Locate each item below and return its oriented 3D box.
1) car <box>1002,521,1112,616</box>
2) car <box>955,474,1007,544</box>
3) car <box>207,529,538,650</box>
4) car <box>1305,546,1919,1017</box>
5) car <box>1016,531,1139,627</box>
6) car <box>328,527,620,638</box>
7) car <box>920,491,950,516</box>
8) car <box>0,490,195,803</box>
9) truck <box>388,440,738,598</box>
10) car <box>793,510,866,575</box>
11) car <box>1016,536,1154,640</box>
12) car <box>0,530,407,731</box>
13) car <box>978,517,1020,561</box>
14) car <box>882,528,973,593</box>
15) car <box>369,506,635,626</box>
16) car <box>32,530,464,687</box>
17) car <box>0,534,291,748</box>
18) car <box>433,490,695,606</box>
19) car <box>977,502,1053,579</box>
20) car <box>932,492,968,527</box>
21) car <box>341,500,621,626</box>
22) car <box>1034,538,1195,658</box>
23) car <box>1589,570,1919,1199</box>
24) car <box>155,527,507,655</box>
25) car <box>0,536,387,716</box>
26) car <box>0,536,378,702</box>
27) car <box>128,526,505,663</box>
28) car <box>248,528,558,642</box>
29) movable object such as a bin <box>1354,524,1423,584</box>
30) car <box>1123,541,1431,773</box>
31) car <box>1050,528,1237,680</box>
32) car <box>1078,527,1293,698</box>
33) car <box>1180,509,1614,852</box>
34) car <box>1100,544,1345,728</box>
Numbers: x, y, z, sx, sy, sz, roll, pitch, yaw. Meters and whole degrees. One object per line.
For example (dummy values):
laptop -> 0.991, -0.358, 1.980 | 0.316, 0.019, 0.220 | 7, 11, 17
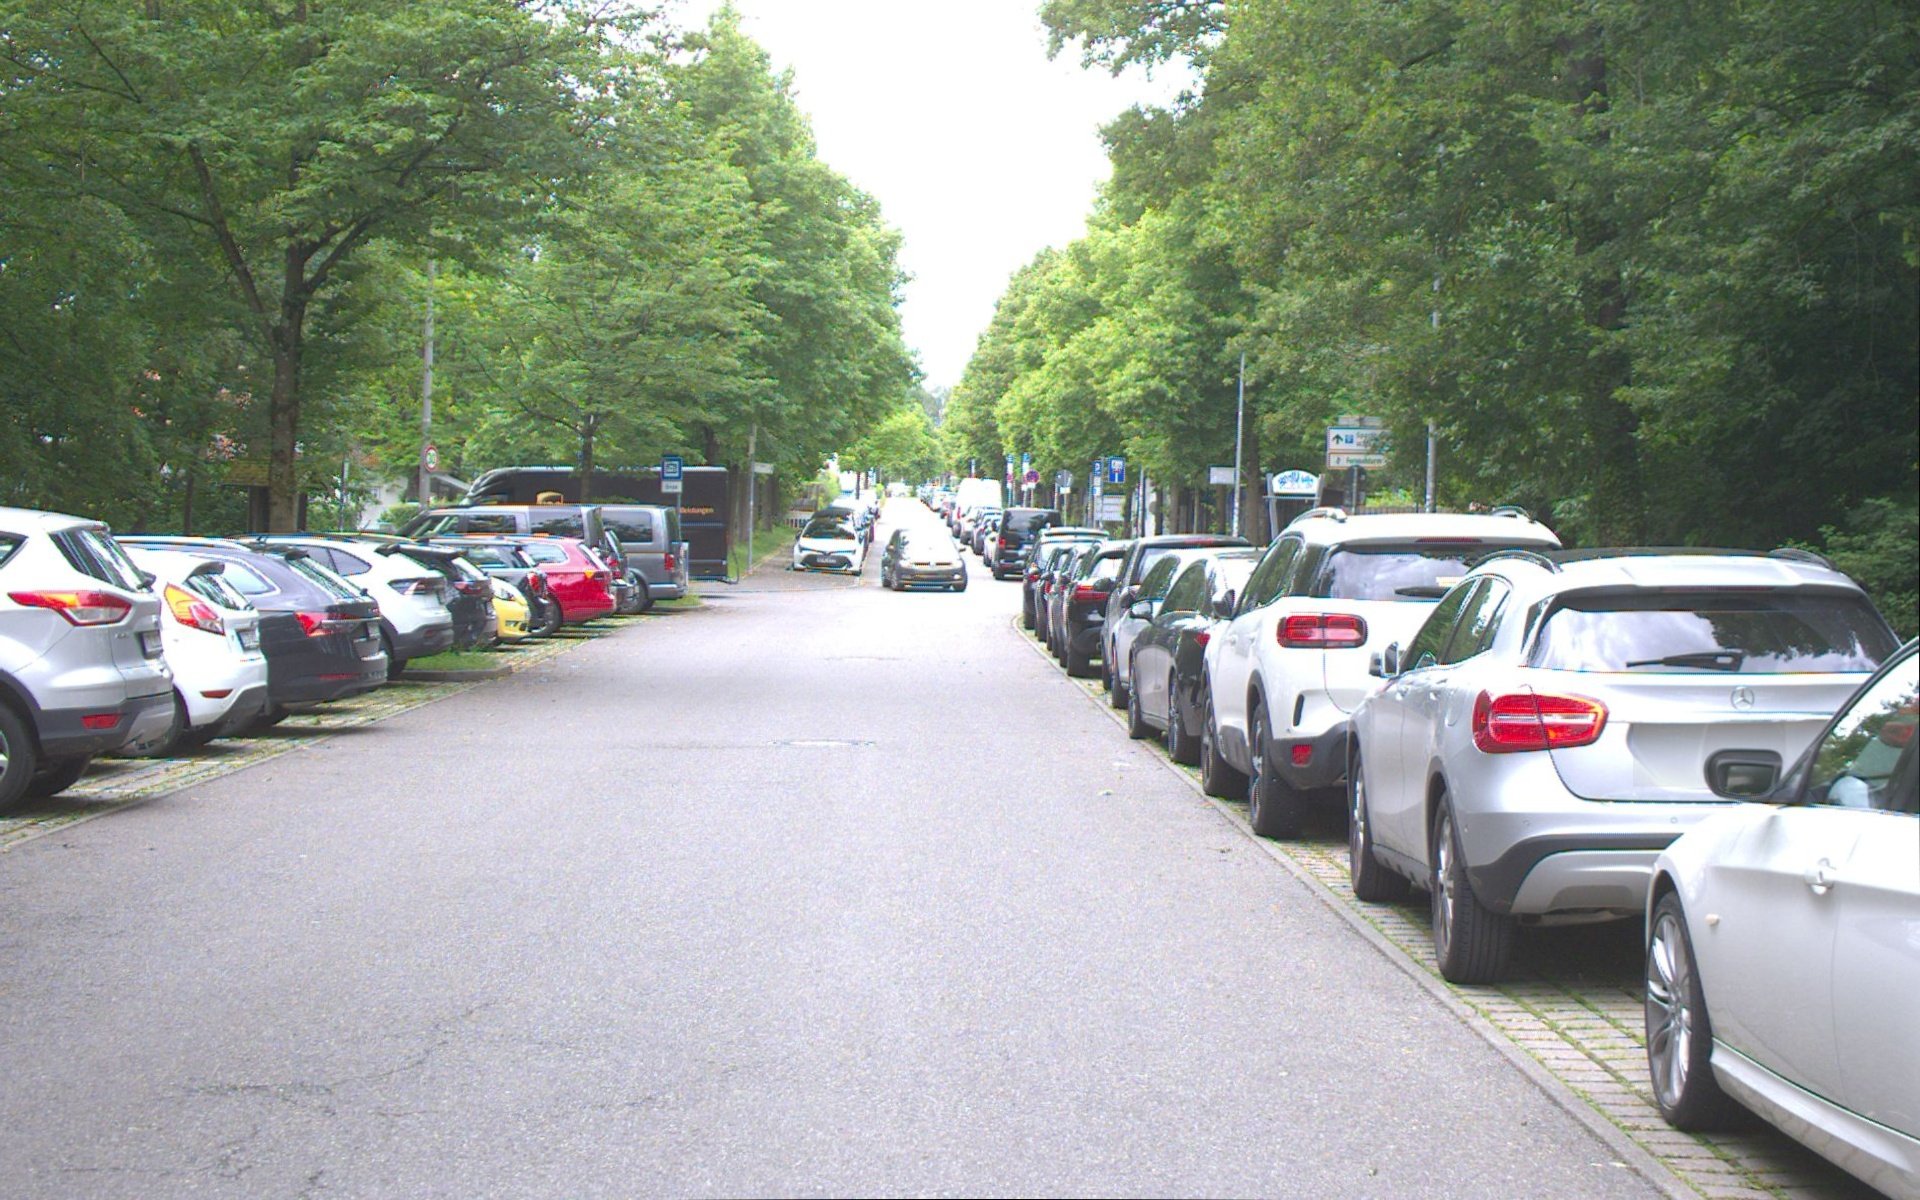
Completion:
car -> 1.715, -0.584, 62.078 | 1.736, 1.628, 4.376 | 1, 1, -1
car -> 0.940, -4.025, 151.500 | 2.184, 3.005, 4.897 | 1, 1, 1
car -> -7.574, -0.150, 44.539 | 3.987, 1.433, 1.618 | 2, 1, 0
car -> 2.479, 0.548, 13.428 | 1.736, 1.474, 4.770 | 1, 1, 0
car -> 1.884, -0.372, 56.281 | 1.736, 1.489, 4.234 | 1, 1, -1
car -> -6.968, -0.269, 49.565 | 3.986, 1.471, 1.780 | 1, 1, -2
car -> -1.748, -6.878, 244.809 | 1.898, 1.700, 4.063 | 1, 0, 3
car -> -6.410, 0.226, 19.025 | 3.986, 1.656, 1.815 | 0, 1, -2
truck -> -8.642, -1.714, 74.397 | 7.245, 3.225, 3.442 | 1, 0, -11
car -> -3.486, -1.541, 90.946 | 1.765, 1.590, 4.217 | 3, 1, -3
car -> 1.796, -0.208, 50.675 | 1.736, 1.427, 4.502 | 1, 1, -1
car -> -6.420, 0.200, 26.542 | 3.987, 1.430, 1.677 | 1, 1, 1
car -> 1.381, -2.175, 122.025 | 1.469, 1.526, 3.189 | 1, 1, 1
car -> -0.746, -0.920, 81.152 | 1.872, 1.481, 4.000 | 1, 0, 3
car -> -7.210, -0.552, 54.397 | 3.986, 1.759, 1.824 | 1, 1, -2
car -> -7.100, 0.066, 34.561 | 3.987, 1.462, 1.715 | 1, 1, -1
car -> -6.878, 0.269, 24.175 | 3.987, 1.430, 1.648 | 1, -1, 1
car -> -7.072, -0.927, 61.743 | 4.502, 1.971, 1.891 | 1, 0, -2
car -> 1.474, -1.633, 93.332 | 1.988, 2.007, 4.108 | 1, 1, 1
car -> -0.613, -5.566, 211.350 | 1.994, 2.007, 4.000 | 1, 0, 3
car -> -7.204, -0.567, 51.960 | 3.987, 1.856, 1.813 | 0, 1, -1
car -> 1.923, -0.066, 43.979 | 1.736, 1.427, 4.502 | 1, 1, -1
car -> 2.669, 0.676, 7.354 | 1.736, 1.402, 4.428 | 1, 1, -1
car -> -7.676, -0.131, 42.216 | 3.987, 1.433, 1.734 | 2, 1, 0
car -> -7.091, 0.197, 29.613 | 3.987, 1.430, 1.677 | 1, 1, 1
car -> -7.608, 0.152, 32.202 | 3.987, 1.430, 1.702 | 1, 1, 1
car -> -7.345, -0.079, 39.490 | 3.987, 1.433, 1.715 | 2, 1, 0
car -> -7.561, -0.217, 46.926 | 3.986, 1.433, 1.672 | 1, 1, -3
movable object such as a bin -> 10.465, -1.120, 83.925 | 1.282, 1.437, 1.078 | 1, 0, -44
car -> 2.165, 0.333, 24.625 | 1.736, 1.469, 4.605 | 1, 1, 0
car -> 1.999, 0.000, 38.613 | 1.736, 1.583, 4.382 | 1, 1, -1
car -> 2.169, 0.077, 34.026 | 1.736, 1.562, 4.008 | 1, 1, -1
car -> 2.281, 0.343, 19.214 | 1.736, 1.638, 5.072 | 1, 1, 0
car -> 2.173, 0.253, 29.423 | 1.736, 1.420, 4.155 | 1, 1, 0
